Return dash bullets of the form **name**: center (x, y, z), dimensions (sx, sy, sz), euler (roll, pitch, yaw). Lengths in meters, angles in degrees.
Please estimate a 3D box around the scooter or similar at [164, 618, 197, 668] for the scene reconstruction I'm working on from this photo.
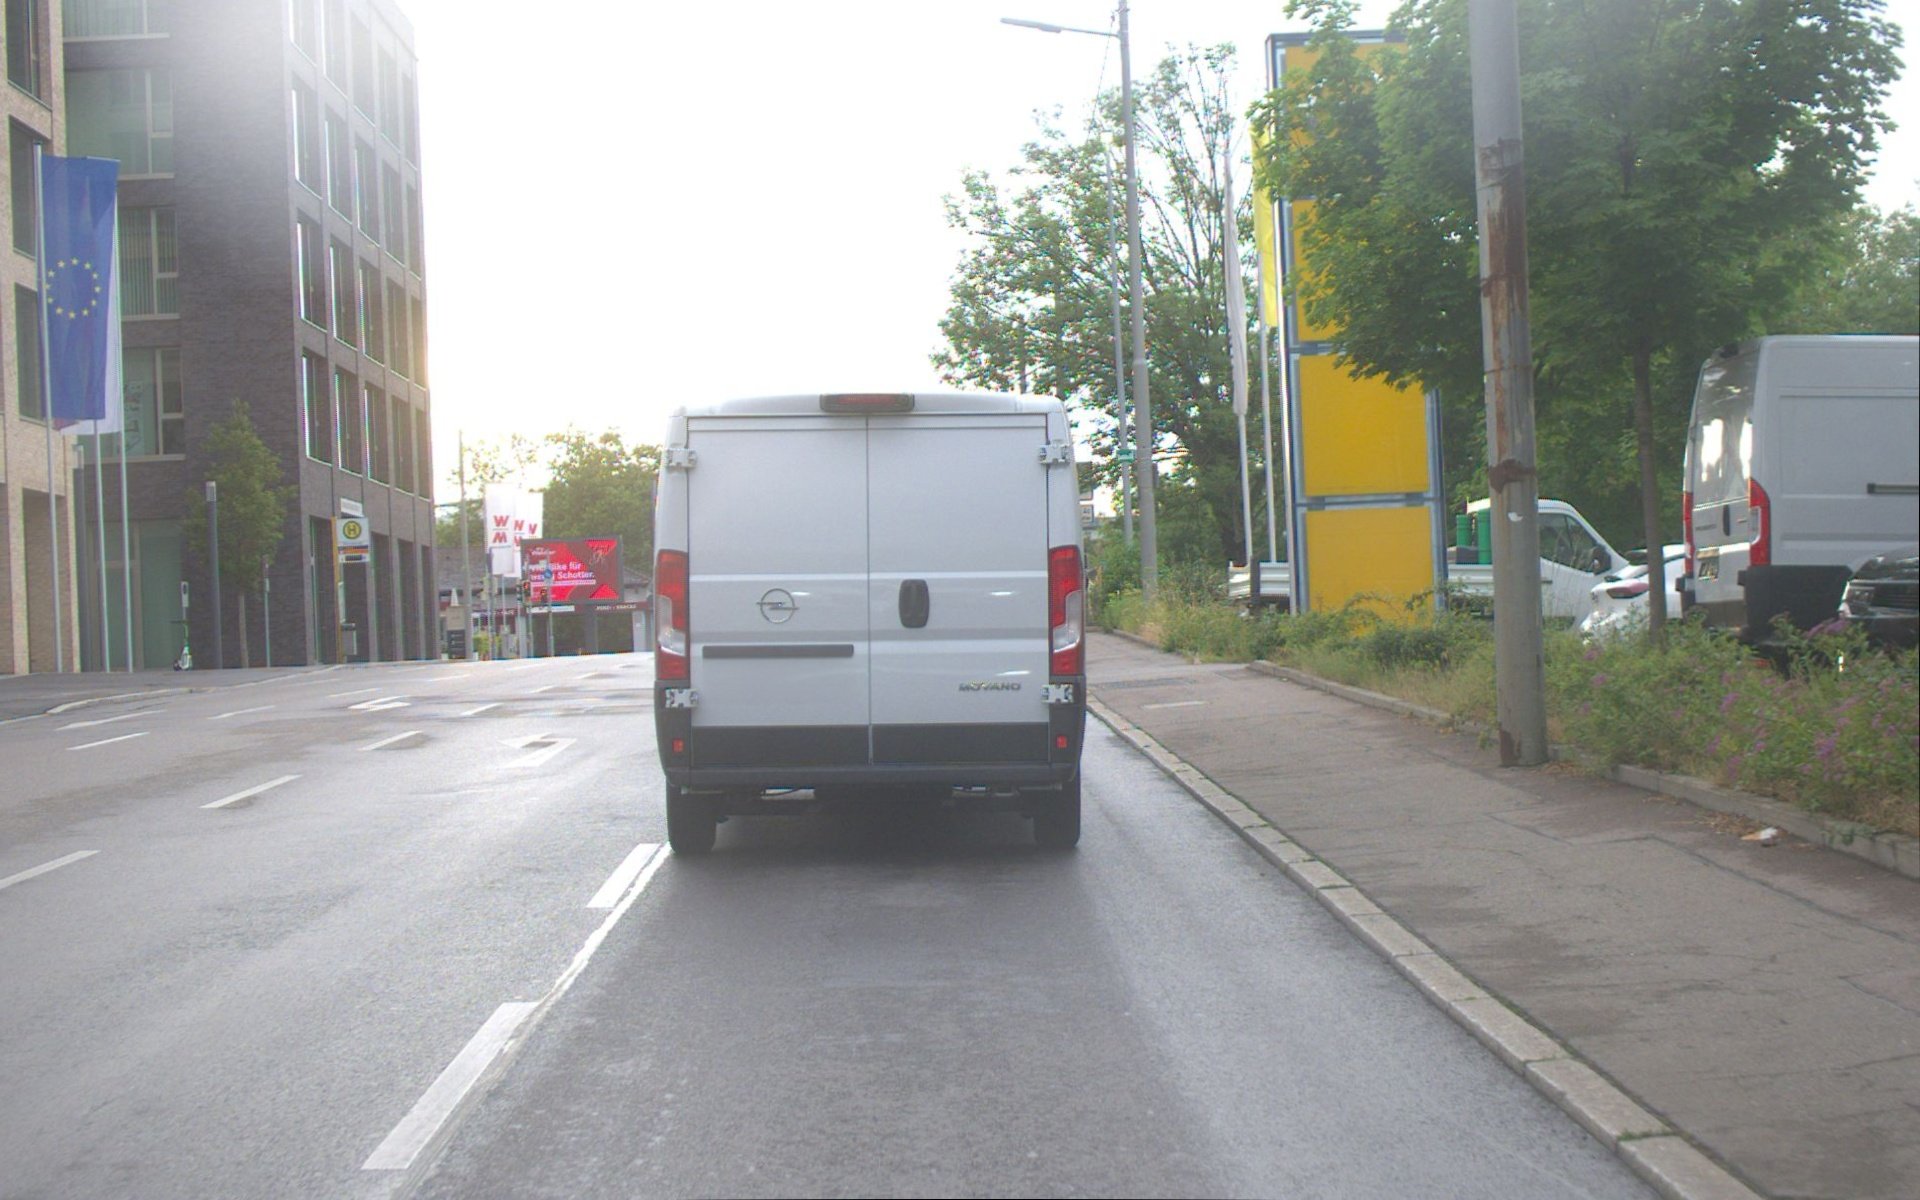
- **scooter or similar**: center (-16.700, 0.925, 73.660), dimensions (0.351, 1.068, 1.428), euler (-1, -1, 0)

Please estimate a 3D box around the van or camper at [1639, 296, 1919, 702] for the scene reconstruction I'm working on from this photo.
- **van or camper**: center (7.956, -0.742, 24.429), dimensions (5.736, 2.714, 2.352), euler (-1, 1, -1)

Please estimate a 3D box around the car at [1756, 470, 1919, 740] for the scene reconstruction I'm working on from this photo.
- **car**: center (6.821, -0.070, 20.230), dimensions (4.506, 1.449, 1.915), euler (-3, 0, -43)

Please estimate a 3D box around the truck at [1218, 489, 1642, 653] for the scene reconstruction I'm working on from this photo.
- **truck**: center (6.126, -0.392, 45.286), dimensions (5.147, 2.007, 2.345), euler (-1, 1, -3)

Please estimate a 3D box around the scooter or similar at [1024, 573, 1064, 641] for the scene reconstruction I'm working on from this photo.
- **scooter or similar**: center (1.989, 0.162, 81.604), dimensions (0.434, 1.582, 1.273), euler (-1, 1, -23)

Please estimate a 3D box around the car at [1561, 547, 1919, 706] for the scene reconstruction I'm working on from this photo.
- **car**: center (8.100, 0.234, 33.870), dimensions (3.987, 1.423, 1.895), euler (-2, 1, 0)

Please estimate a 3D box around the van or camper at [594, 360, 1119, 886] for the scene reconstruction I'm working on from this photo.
- **van or camper**: center (-0.476, 0.069, 18.222), dimensions (2.340, 2.349, 5.200), euler (-1, 1, 0)
